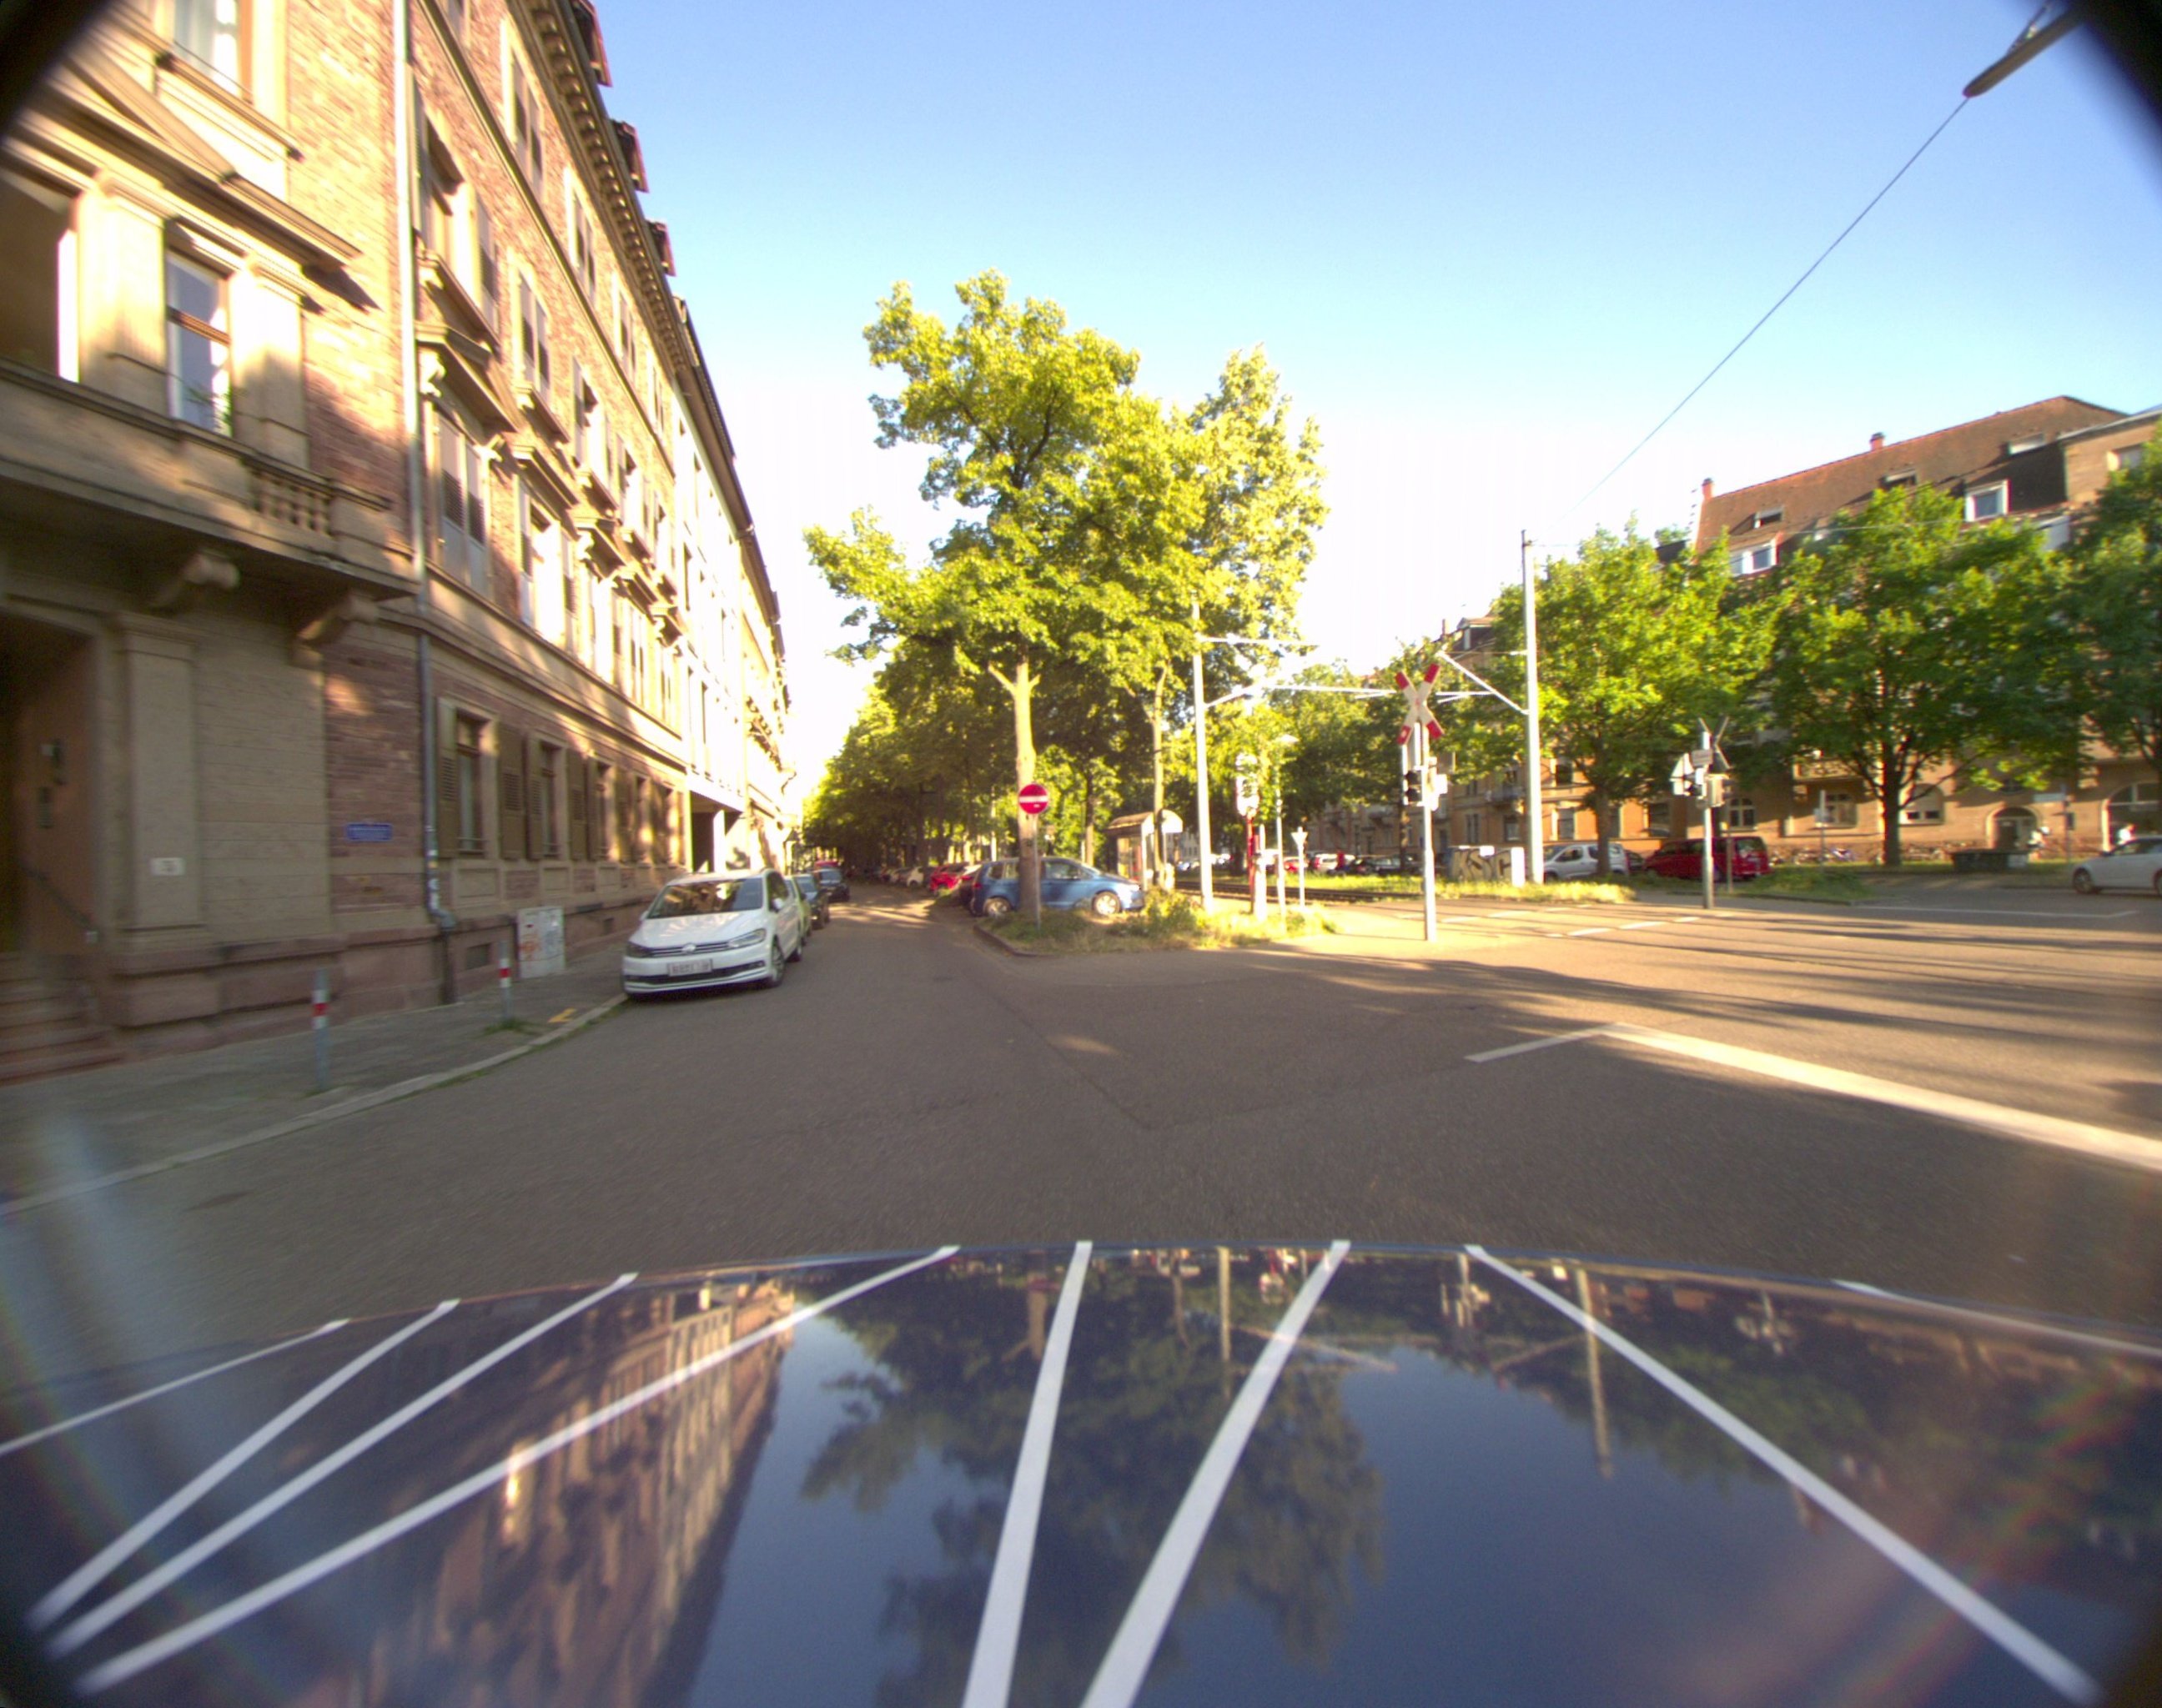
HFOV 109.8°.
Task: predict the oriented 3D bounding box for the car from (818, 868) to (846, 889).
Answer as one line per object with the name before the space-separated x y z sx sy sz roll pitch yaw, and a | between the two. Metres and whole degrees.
car | -19.624 1.876 59.870 2.002 1.558 4.605 -1 0 -18

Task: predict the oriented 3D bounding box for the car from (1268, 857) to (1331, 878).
car | 15.633 0.932 54.387 3.999 1.415 1.683 -1 0 -6

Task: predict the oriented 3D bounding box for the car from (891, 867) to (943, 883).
car | -14.085 1.798 65.337 3.992 1.271 1.750 -1 0 14

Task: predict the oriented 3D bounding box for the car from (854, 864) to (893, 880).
car | -23.956 2.020 87.676 3.997 1.756 1.748 -1 0 1

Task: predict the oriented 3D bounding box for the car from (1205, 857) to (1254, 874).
car | 13.398 1.056 68.669 3.999 1.480 1.683 -1 0 -6

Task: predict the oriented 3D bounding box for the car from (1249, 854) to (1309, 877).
car | 14.727 0.851 56.590 4.000 1.570 1.764 -1 0 -9

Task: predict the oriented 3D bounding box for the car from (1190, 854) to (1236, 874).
car | 12.760 0.944 73.598 3.999 1.821 1.683 -1 0 -6

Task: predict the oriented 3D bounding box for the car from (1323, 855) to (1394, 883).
car | 16.053 0.845 44.048 3.408 1.505 1.718 -2 0 -5

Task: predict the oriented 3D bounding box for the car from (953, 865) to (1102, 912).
car | -1.732 1.135 25.306 4.544 1.478 1.932 -1 0 14

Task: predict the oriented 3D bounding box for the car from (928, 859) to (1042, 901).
car | -4.158 1.113 32.887 4.541 1.711 1.933 -1 0 24

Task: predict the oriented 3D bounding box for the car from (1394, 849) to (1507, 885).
car | 17.893 0.612 36.884 4.552 1.563 1.949 -2 1 -5

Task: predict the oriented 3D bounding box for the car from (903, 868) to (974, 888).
car | -9.509 1.617 50.864 4.274 1.271 1.811 -1 0 15

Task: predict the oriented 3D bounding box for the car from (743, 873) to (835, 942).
car | -7.820 1.357 20.714 1.742 1.481 4.160 -4 0 -14

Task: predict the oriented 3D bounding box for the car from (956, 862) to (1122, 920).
car | -1.211 1.081 22.714 4.544 1.625 1.932 -1 0 14

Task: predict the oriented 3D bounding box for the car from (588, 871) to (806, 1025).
car | -5.402 1.162 11.381 1.875 1.640 4.493 -4 0 -14

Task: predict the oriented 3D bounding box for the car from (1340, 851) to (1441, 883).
car | 16.869 0.684 41.558 4.714 1.563 1.999 -2 1 -5

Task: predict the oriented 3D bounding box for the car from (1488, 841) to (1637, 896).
car | 18.432 0.535 29.195 4.552 1.903 1.949 -2 1 -5

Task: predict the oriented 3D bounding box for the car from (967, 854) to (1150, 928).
car | -0.543 0.947 19.804 4.412 1.677 1.744 -3 0 12

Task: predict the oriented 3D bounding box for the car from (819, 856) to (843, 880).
car | -23.170 1.295 70.408 2.002 2.159 4.605 -1 0 -18

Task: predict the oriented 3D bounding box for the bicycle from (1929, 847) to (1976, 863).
bicycle | 43.052 0.055 37.543 0.369 0.728 1.506 -2 -1 -42

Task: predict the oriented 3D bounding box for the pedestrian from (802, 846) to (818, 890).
pedestrian | -18.198 0.921 51.046 0.921 2.930 0.699 -2 0 -19

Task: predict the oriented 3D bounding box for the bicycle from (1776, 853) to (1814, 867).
bicycle | 38.907 0.307 41.411 0.369 0.728 1.506 -2 0 -42

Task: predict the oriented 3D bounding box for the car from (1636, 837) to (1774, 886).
car | 27.495 0.336 33.742 1.781 1.922 4.770 -4 0 -7

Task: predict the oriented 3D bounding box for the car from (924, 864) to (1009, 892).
car | -6.366 1.311 42.262 4.273 1.478 1.812 -1 0 18

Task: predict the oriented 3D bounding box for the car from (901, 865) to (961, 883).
car | -11.182 1.475 56.662 3.992 1.271 1.750 -1 0 14

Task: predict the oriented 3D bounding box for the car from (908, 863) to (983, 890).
car | -8.571 1.423 48.106 4.273 1.685 1.812 -1 0 18

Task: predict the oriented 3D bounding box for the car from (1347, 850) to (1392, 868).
car | 24.250 0.452 64.055 1.768 1.375 4.288 -4 0 -6

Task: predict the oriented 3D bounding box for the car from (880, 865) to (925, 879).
car | -17.941 1.789 76.379 3.992 1.271 1.750 -1 0 14

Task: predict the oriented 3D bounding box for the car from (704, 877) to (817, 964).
car | -6.849 1.338 16.586 1.743 1.481 3.720 -4 0 -16

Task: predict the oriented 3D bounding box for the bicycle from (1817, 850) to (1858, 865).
bicycle | 40.273 0.188 40.471 0.369 0.728 1.506 -2 0 -42

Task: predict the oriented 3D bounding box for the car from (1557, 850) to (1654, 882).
car | 27.025 0.607 39.306 1.781 1.425 4.269 -4 0 -4

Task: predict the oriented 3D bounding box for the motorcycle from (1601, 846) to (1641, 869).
motorcycle | 33.870 0.227 47.681 0.812 1.345 1.894 -1 -1 -42

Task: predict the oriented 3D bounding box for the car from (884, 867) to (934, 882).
car | -15.421 1.849 68.225 3.992 1.271 1.750 -1 0 14

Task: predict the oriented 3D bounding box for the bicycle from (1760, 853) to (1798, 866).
bicycle | 38.740 0.316 42.173 0.369 0.728 1.506 -2 0 -42

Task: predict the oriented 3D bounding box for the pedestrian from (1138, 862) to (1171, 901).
pedestrian | 2.486 0.923 25.662 0.825 1.265 0.875 -2 0 -15

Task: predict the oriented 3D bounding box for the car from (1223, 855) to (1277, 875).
car | 14.125 0.921 63.606 3.999 1.544 1.683 -1 0 -6

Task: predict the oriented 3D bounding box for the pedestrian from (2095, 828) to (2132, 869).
pedestrian | 43.698 -0.228 32.174 0.677 1.708 0.909 -2 1 -38

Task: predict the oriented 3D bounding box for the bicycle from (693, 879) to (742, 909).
bicycle | -15.188 1.659 31.831 0.681 1.110 2.099 -2 0 12

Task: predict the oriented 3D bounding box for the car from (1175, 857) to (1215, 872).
car | 12.216 1.143 81.462 3.999 1.480 1.683 -1 0 -6

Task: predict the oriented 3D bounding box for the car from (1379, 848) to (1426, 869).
car | 24.814 0.360 58.835 1.689 1.466 3.707 -4 0 -6

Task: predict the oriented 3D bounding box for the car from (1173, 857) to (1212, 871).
car | 12.379 1.147 84.335 3.999 1.480 1.683 -1 0 -6

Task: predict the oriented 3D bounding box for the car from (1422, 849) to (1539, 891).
car | 17.950 0.685 34.212 4.451 1.681 1.948 -2 1 -12

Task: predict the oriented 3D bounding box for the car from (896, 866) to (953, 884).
car | -12.211 1.644 59.288 3.992 1.271 1.750 -1 0 14

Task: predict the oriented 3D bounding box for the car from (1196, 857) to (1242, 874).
car | 12.945 1.044 71.411 3.999 1.480 1.683 -1 0 -6

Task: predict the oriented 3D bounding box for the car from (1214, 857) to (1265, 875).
car | 13.744 1.019 66.071 3.999 1.480 1.683 -1 0 -6

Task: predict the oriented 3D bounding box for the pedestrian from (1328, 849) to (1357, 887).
pedestrian | 13.214 0.702 38.440 0.905 1.907 1.149 -2 0 -6

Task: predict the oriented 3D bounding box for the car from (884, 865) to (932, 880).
car | -16.030 1.697 70.488 3.992 1.271 1.750 -1 0 14

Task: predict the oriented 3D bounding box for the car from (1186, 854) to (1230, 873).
car | 12.660 0.916 76.027 3.999 1.821 1.683 -1 0 -6

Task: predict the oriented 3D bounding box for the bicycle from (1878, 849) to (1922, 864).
bicycle | 41.958 0.135 38.929 0.369 0.728 1.506 -2 0 -42

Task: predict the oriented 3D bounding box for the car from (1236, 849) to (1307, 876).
car | 14.847 0.642 59.374 4.859 2.026 2.154 -1 0 -6

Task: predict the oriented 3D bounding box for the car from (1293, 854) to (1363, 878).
car | 16.029 0.750 49.350 3.999 1.452 1.683 -1 0 -6

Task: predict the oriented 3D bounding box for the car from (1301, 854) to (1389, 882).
car | 16.263 0.838 46.883 4.714 1.563 1.999 -2 1 -5

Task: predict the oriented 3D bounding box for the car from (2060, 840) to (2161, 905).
car | 25.520 0.397 17.681 1.703 1.448 4.069 -1 0 26

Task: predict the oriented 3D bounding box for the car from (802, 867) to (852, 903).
car | -12.100 1.414 36.425 2.001 1.558 4.587 -1 0 -15

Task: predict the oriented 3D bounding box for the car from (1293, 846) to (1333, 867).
car | 22.695 0.263 74.631 1.913 1.872 4.722 -4 0 -7
